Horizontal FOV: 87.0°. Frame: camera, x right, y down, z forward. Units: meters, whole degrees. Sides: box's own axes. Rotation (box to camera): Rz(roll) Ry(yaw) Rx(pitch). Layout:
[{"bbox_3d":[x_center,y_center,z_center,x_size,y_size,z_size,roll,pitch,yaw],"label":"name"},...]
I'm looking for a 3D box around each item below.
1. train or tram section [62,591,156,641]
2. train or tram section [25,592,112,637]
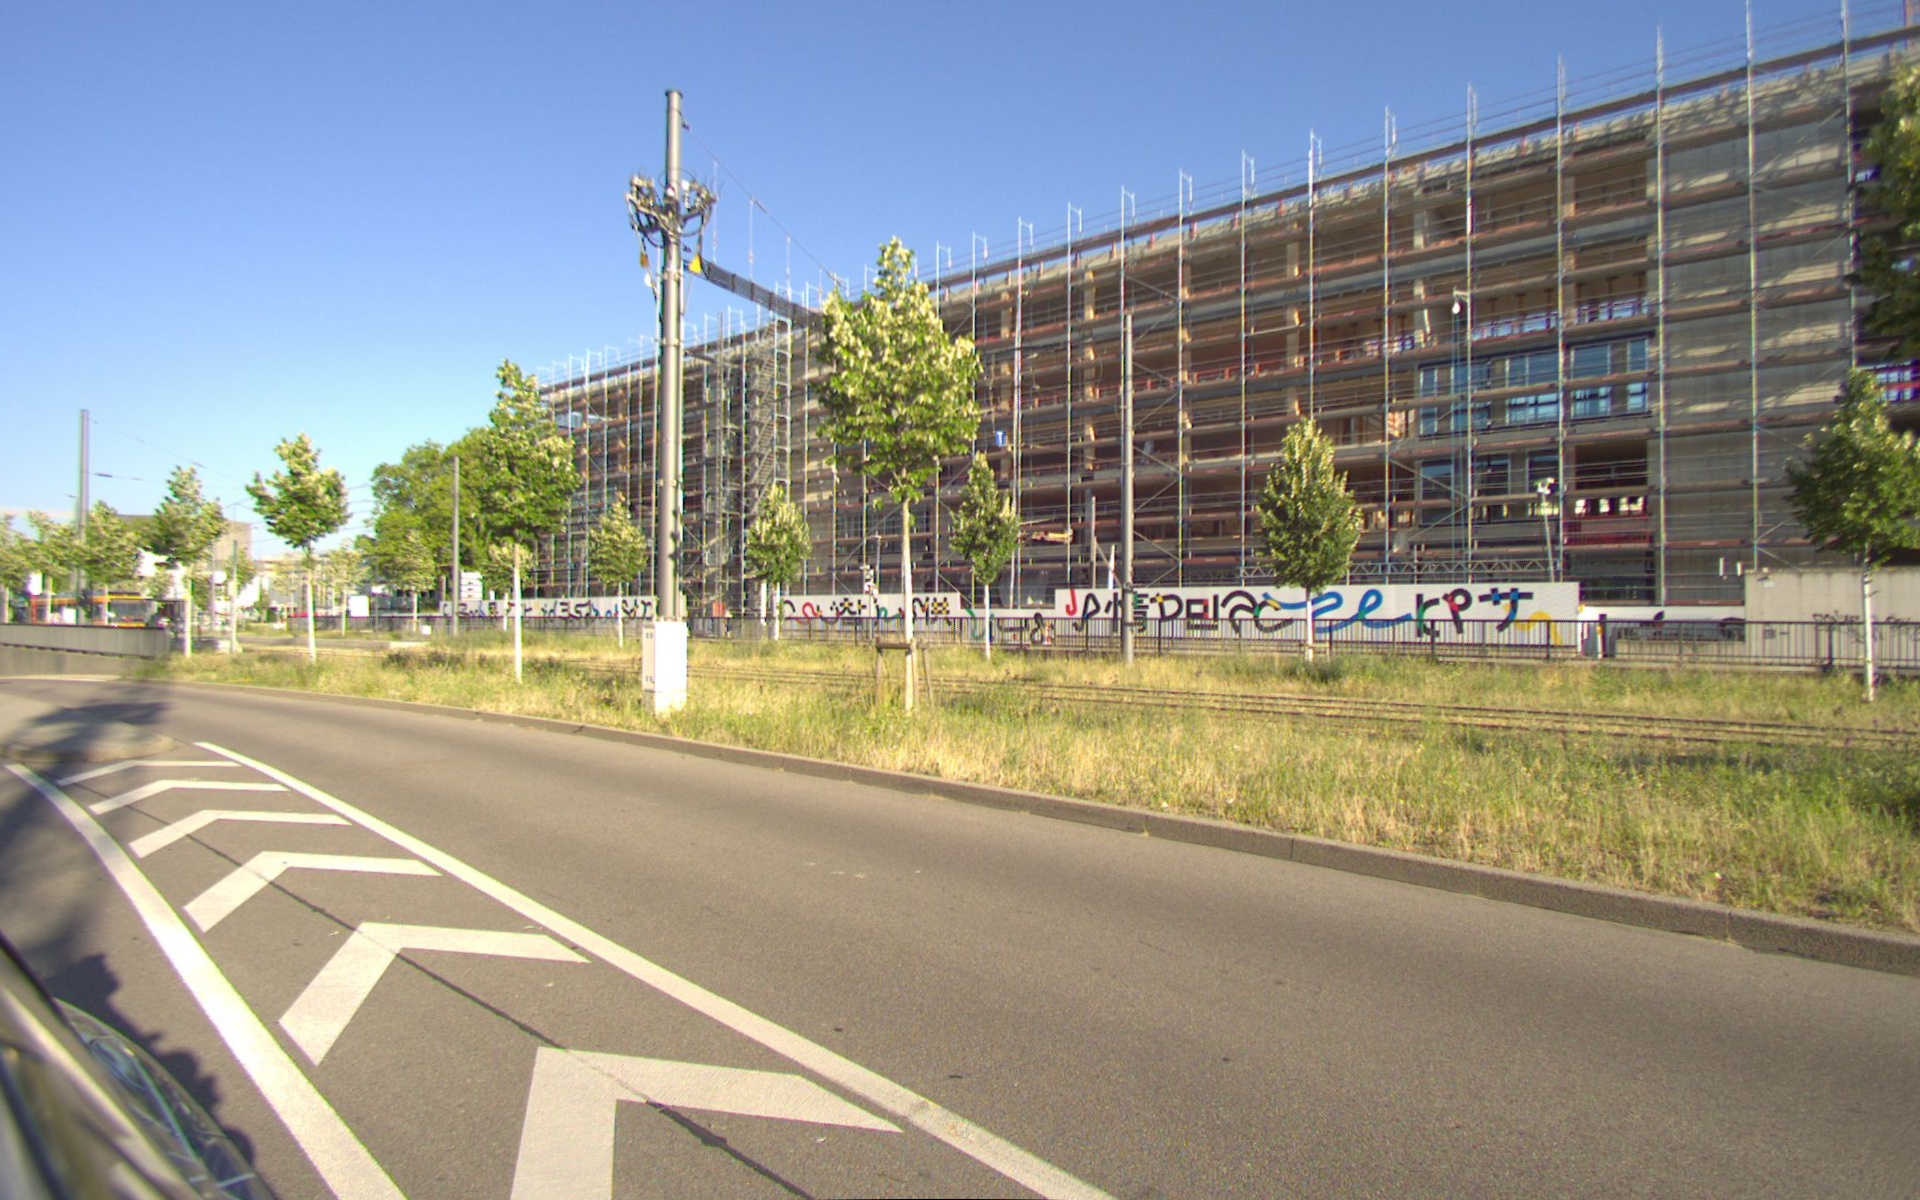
[{"bbox_3d":[-62.690,1.157,74.371,12.619,3.423,2.917,-1,0,39],"label":"train or tram section"},{"bbox_3d":[-73.281,1.177,82.986,14.749,3.423,2.917,-1,0,39],"label":"train or tram section"}]
